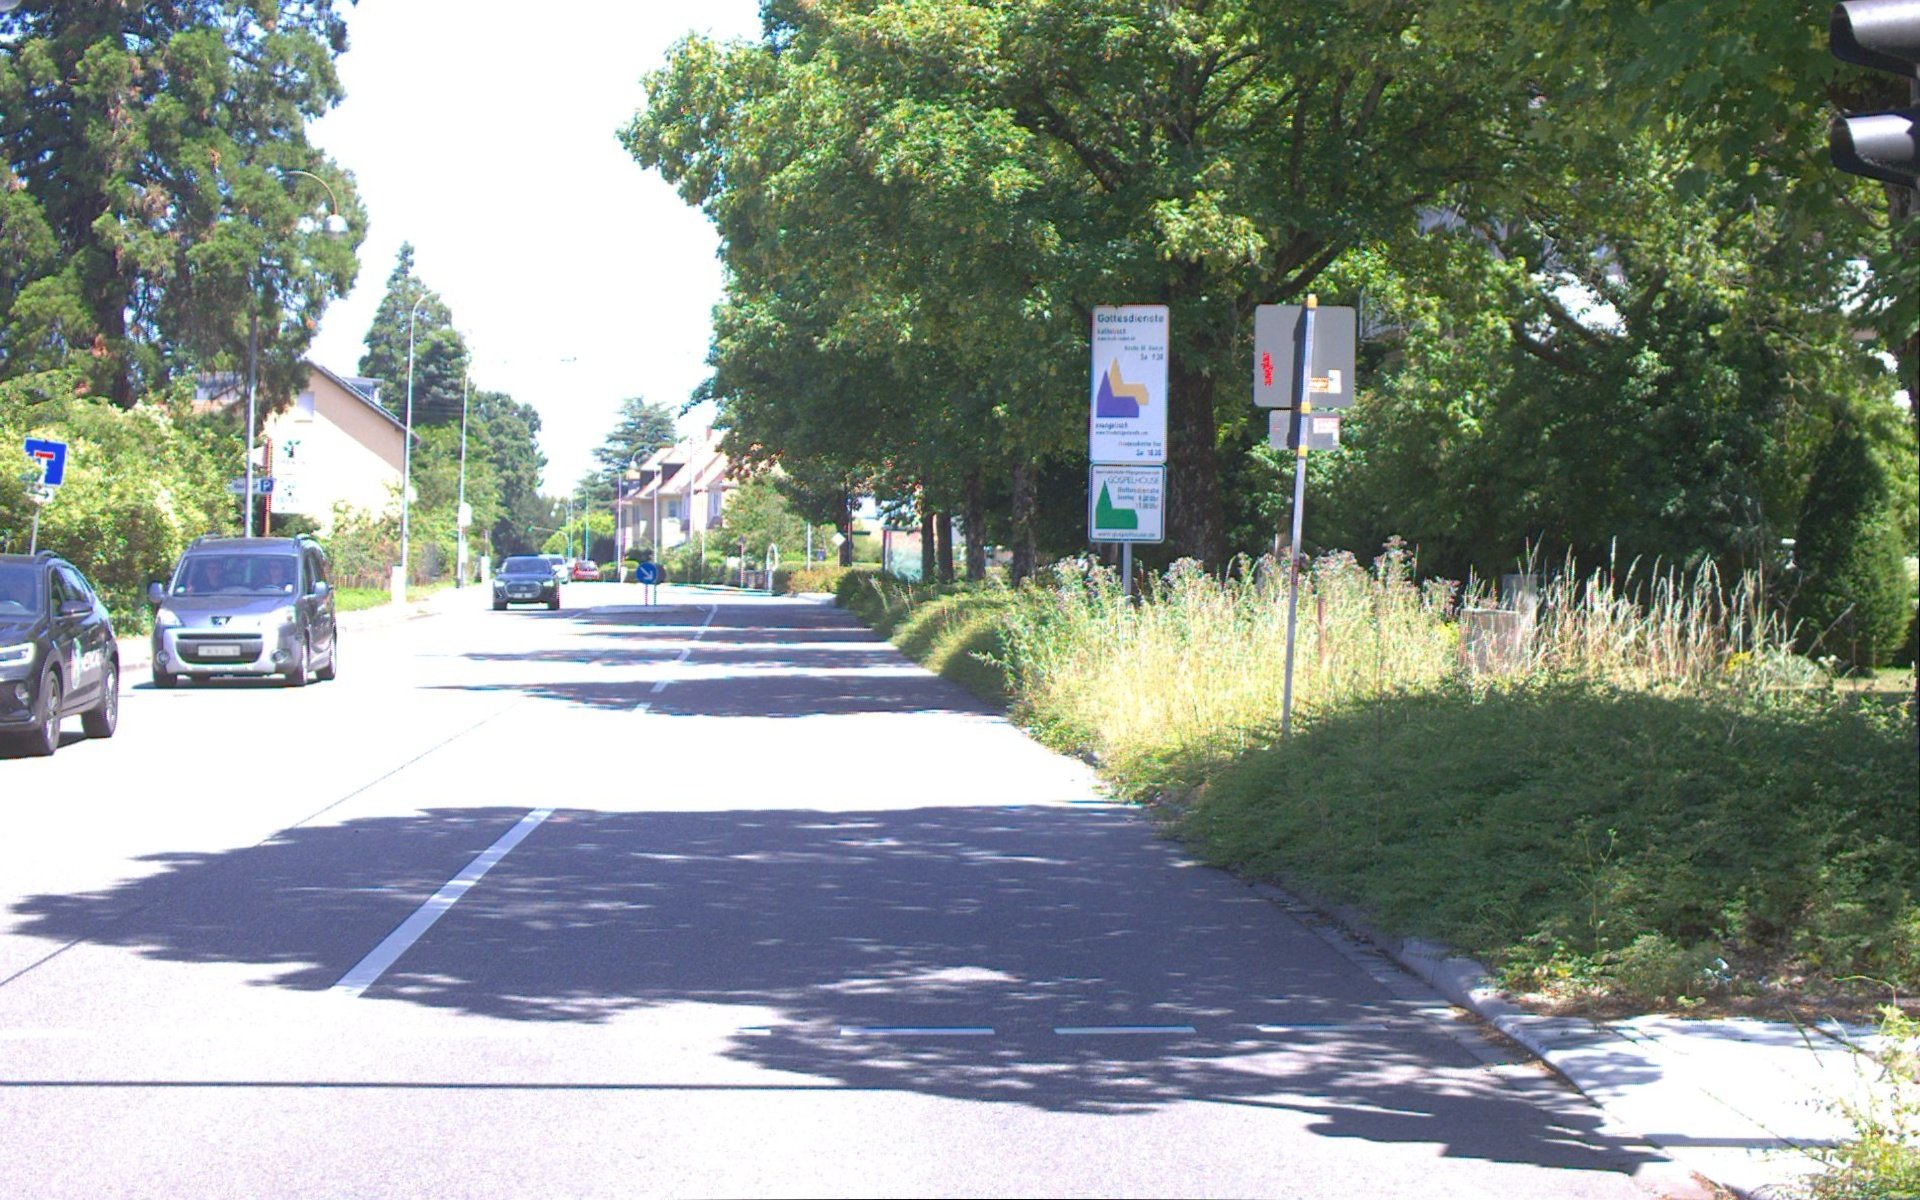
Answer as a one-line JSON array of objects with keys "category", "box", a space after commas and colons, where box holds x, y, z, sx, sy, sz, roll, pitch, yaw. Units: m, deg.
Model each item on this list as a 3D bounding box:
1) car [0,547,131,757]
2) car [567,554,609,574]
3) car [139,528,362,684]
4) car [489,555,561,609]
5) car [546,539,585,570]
[{"category": "car", "box": [-7.680, 0.344, 26.579, 1.869, 1.501, 4.053, 0, 1, -5]}, {"category": "car", "box": [-25.218, -2.444, 233.083, 1.943, 1.355, 4.465, 0, 1, -19]}, {"category": "car", "box": [-8.451, 0.036, 41.295, 1.811, 1.756, 4.570, 0, 1, -1]}, {"category": "car", "box": [-12.816, -0.546, 101.517, 1.793, 1.531, 4.316, 0, 1, -3]}, {"category": "car", "box": [-21.776, -2.511, 190.015, 1.912, 1.683, 4.126, 1, 1, -4]}]
